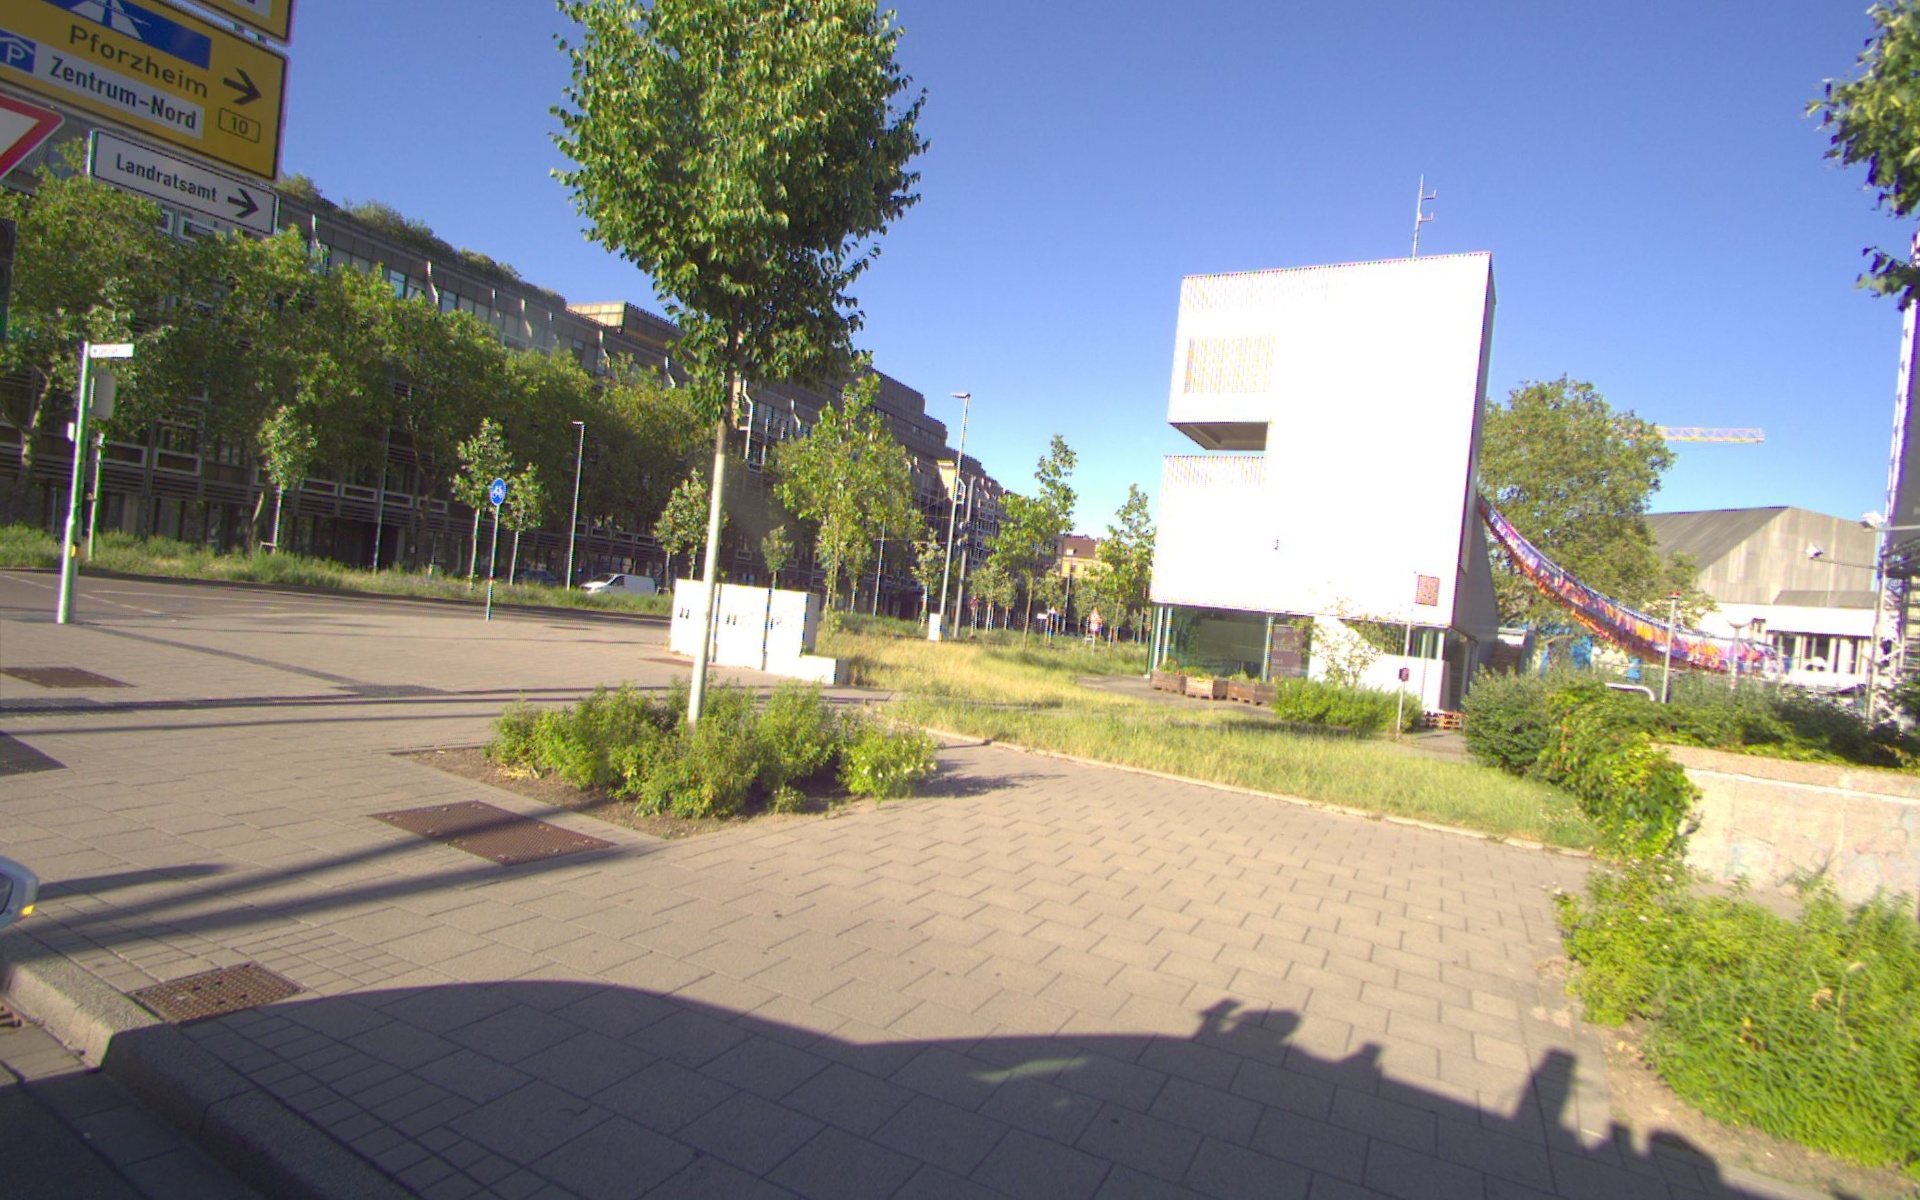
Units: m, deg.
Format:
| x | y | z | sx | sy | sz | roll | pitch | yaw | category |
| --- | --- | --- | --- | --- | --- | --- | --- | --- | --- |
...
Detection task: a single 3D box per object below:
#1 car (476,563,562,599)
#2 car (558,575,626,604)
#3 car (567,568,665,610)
| x | y | z | sx | sy | sz | roll | pitch | yaw | category |
| --- | --- | --- | --- | --- | --- | --- | --- | --- | --- |
| -28.352 | -1.210 | 64.872 | 1.964 | 1.700 | 4.867 | 7 | -1 | 24 | car |
| -25.614 | -0.718 | 70.143 | 1.966 | 1.539 | 3.994 | 7 | -1 | 29 | car |
| -21.061 | -0.631 | 61.961 | 2.227 | 2.037 | 5.705 | 4 | -2 | 26 | car |
